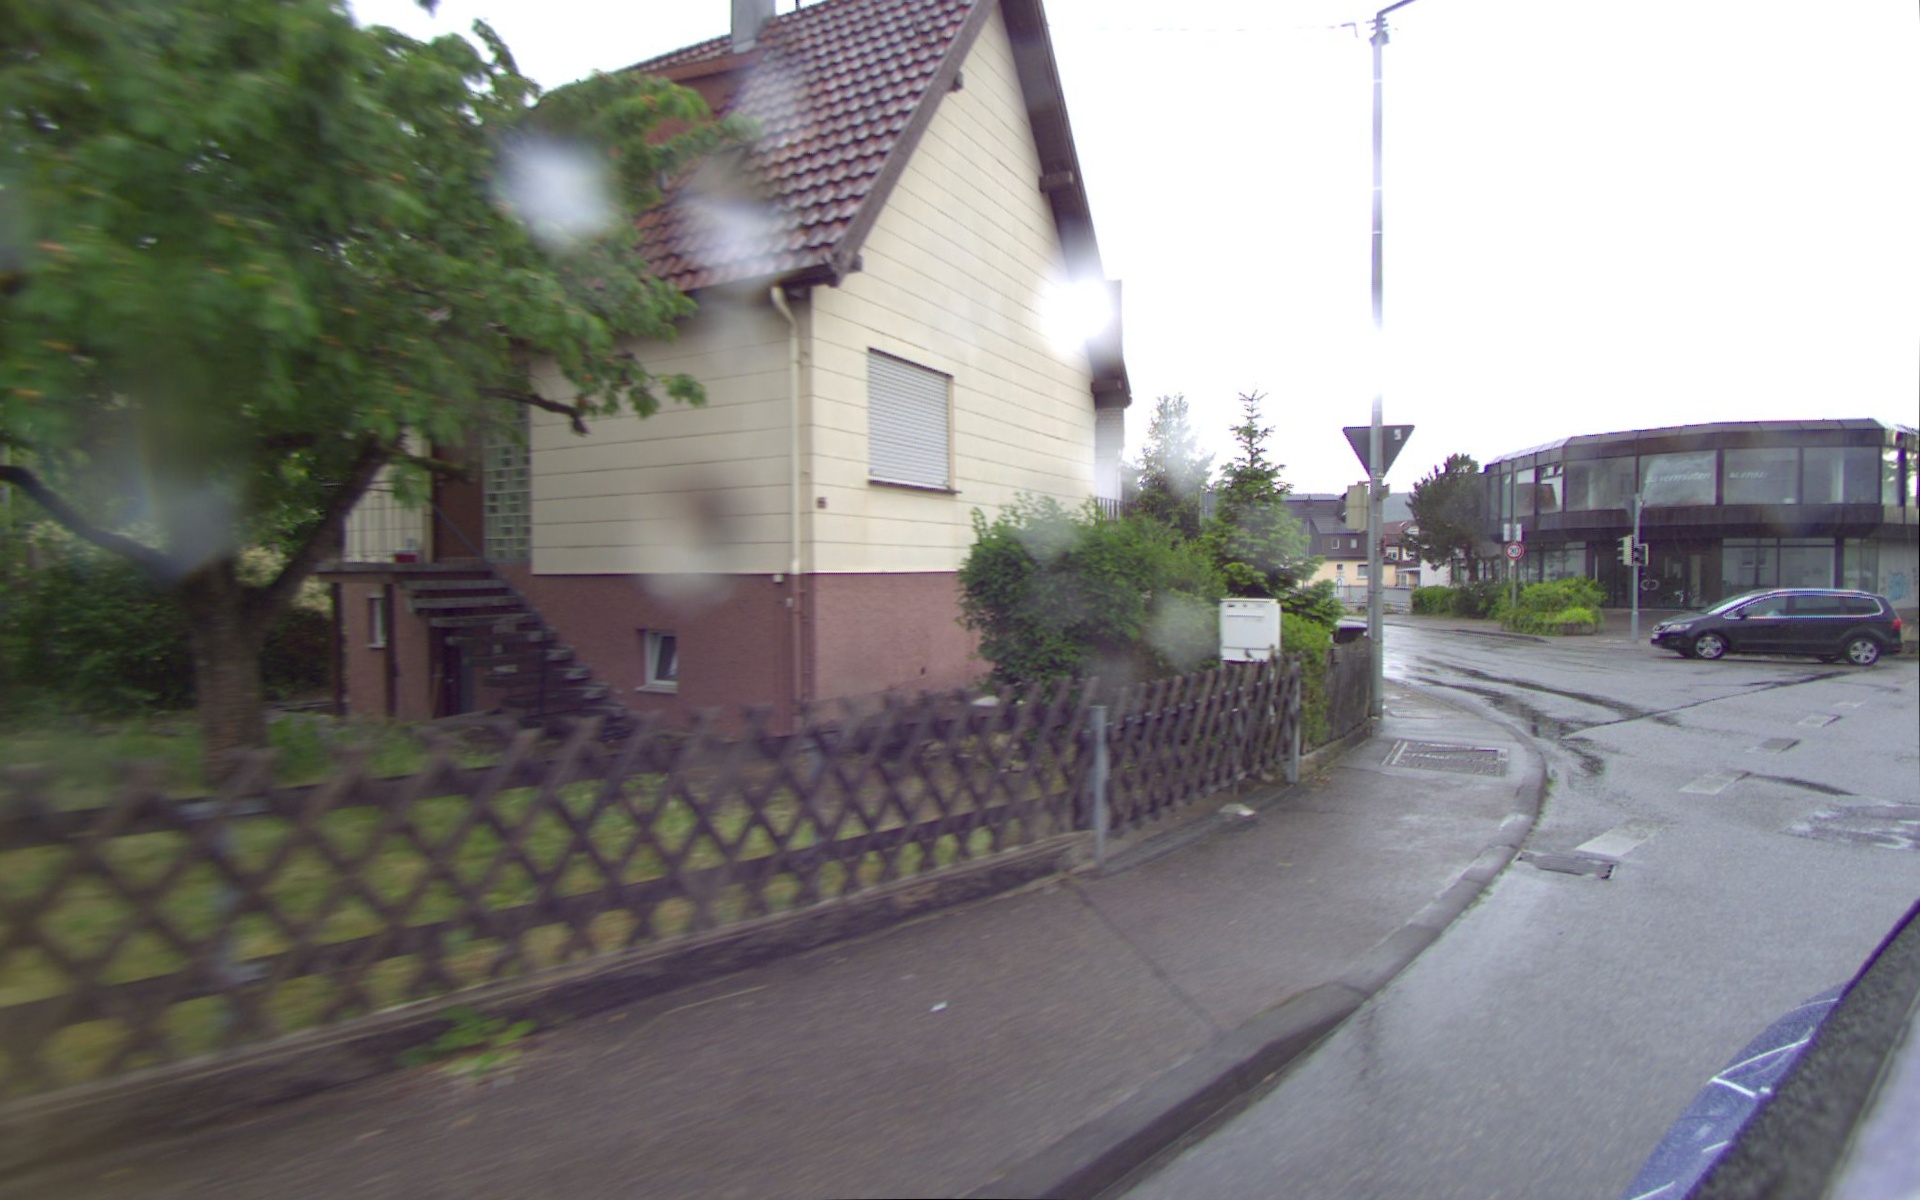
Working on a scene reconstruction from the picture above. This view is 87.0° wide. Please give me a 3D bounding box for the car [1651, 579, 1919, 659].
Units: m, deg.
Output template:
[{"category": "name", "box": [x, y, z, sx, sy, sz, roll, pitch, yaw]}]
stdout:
[{"category": "car", "box": [19.547, 0.407, 24.209, 4.591, 1.771, 1.986, 0, 0, 21]}]
